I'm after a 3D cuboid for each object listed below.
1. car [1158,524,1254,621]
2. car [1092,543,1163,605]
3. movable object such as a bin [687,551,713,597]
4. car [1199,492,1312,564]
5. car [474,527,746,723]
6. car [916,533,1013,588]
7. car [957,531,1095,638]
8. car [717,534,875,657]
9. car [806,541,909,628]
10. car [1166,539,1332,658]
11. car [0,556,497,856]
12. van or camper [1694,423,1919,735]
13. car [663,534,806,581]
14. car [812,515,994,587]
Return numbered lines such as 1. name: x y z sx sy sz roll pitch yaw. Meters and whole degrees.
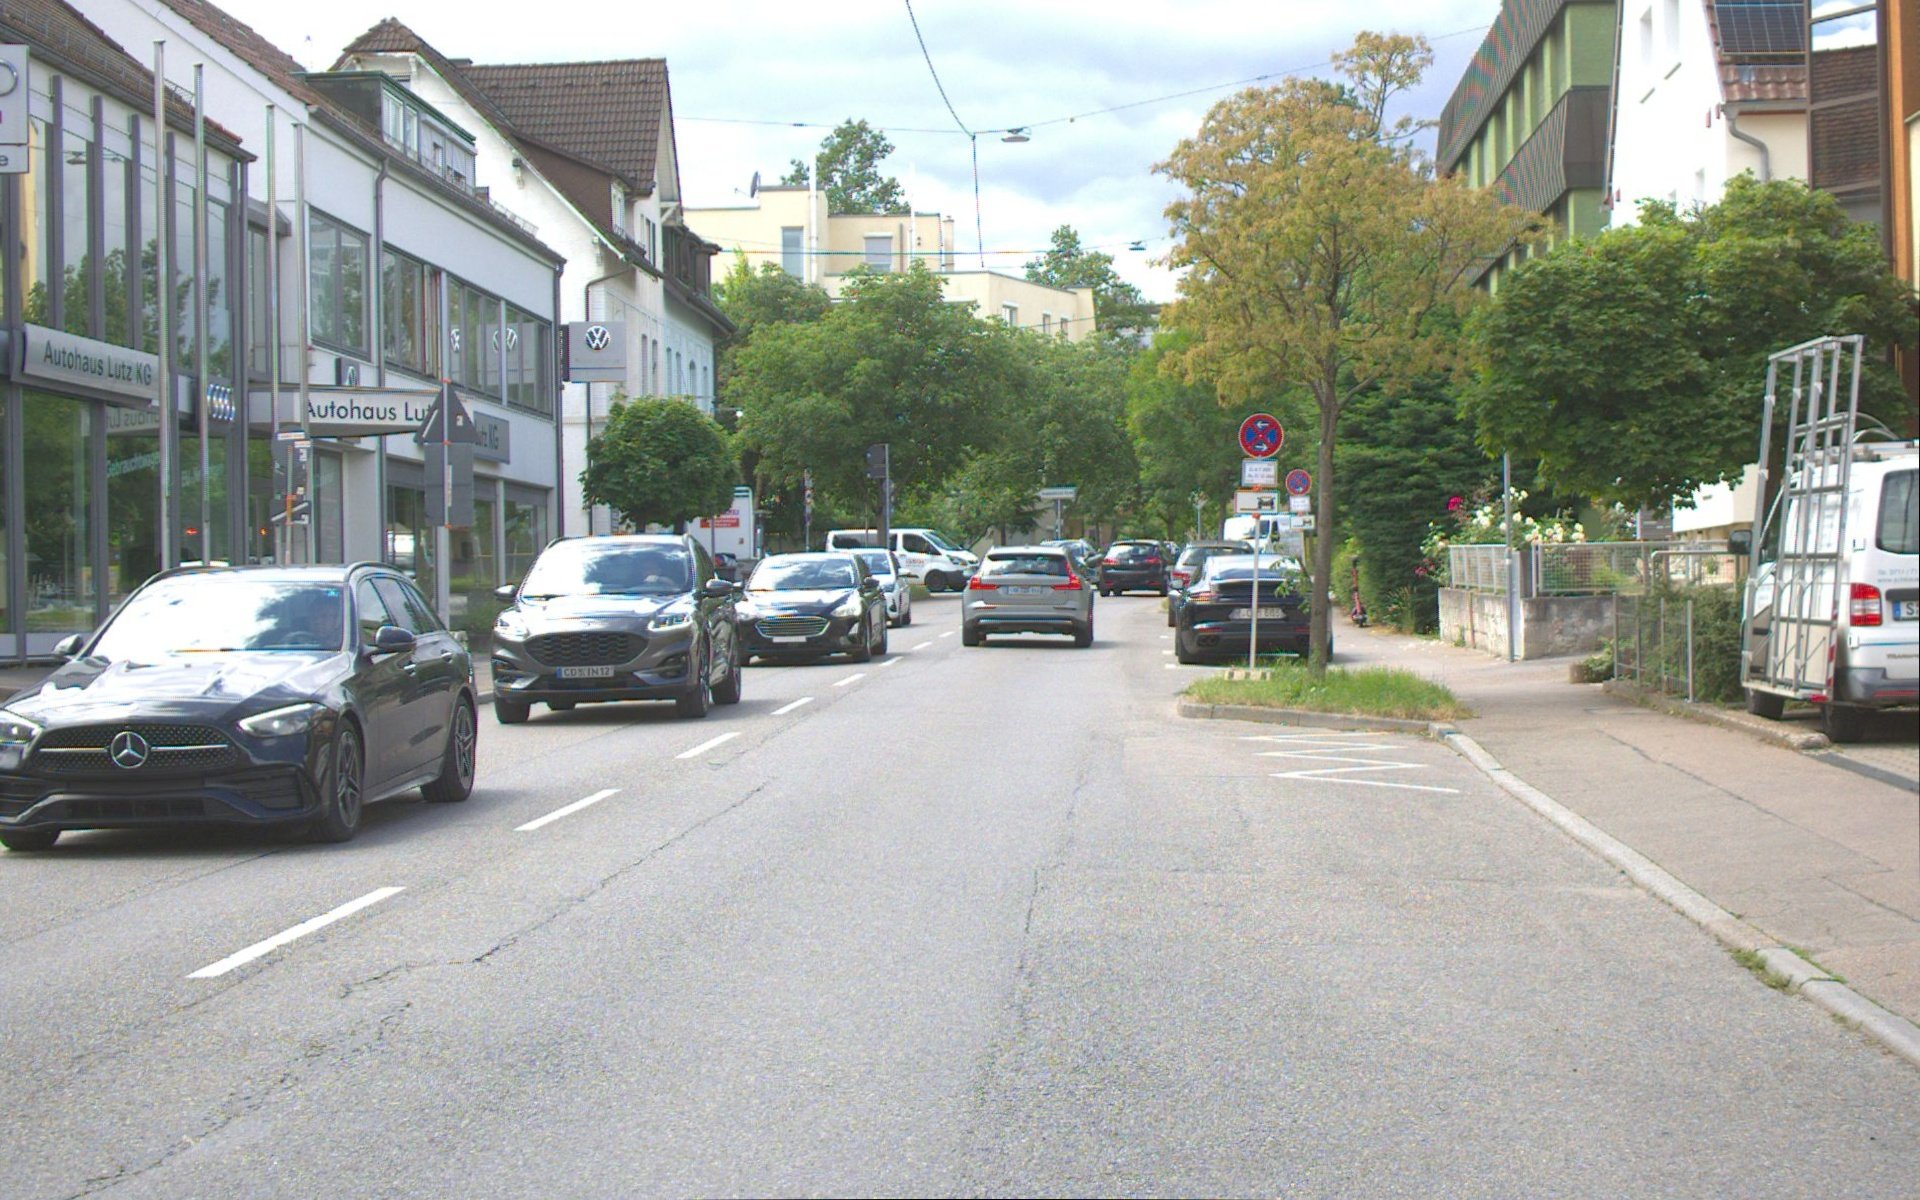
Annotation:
1. car: 4.618 -0.546 64.169 1.690 1.660 4.462 -1 2 5
2. car: 4.237 -0.646 87.281 1.614 1.518 3.569 -1 0 0
3. movable object such as a bin: -6.251 -0.628 82.570 0.564 1.097 0.563 1 0 -1
4. car: 10.739 -2.636 124.638 2.066 2.345 5.175 -3 1 28
5. car: -3.101 0.168 31.285 1.831 1.624 4.321 -1 1 2
6. car: 0.161 -1.153 98.379 1.777 1.518 4.459 0 2 14
7. car: 1.016 -0.199 51.121 1.956 1.518 4.328 0 -1 2
8. car: -2.110 -0.064 45.292 1.831 1.518 4.171 -1 0 0
9. car: -1.912 -0.302 65.149 1.690 1.574 3.800 -1 0 2
10. car: 3.717 -0.034 44.919 1.984 1.443 4.751 -1 0 3
11. car: -3.906 0.497 19.178 1.740 1.424 4.523 -2 1 4
12. van or camper: 6.608 -0.137 24.601 1.867 2.025 4.547 0 0 2
13. car: -6.947 -1.305 106.066 4.019 1.408 1.814 0 0 15
14. car: -1.791 -1.533 107.773 5.217 1.987 2.106 -2 1 20
